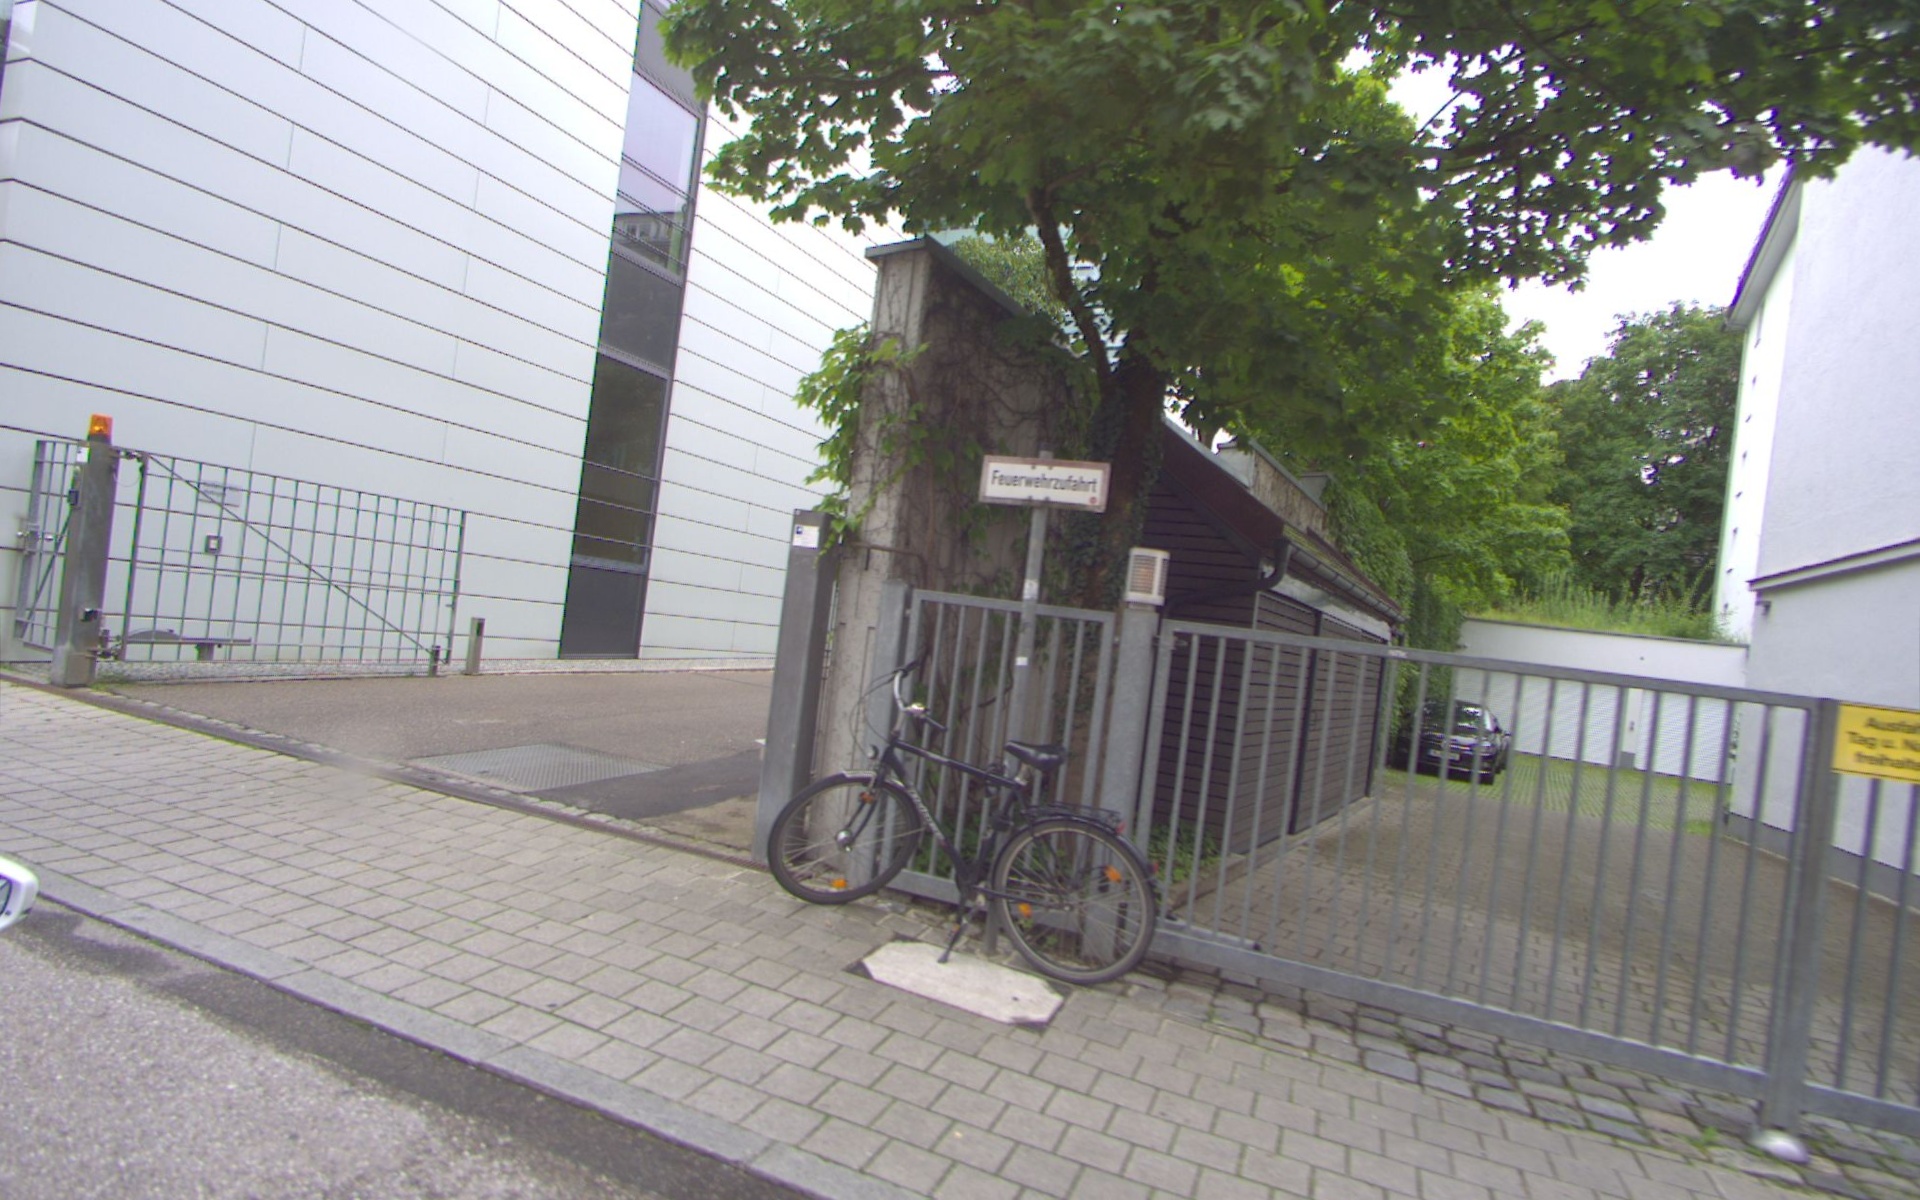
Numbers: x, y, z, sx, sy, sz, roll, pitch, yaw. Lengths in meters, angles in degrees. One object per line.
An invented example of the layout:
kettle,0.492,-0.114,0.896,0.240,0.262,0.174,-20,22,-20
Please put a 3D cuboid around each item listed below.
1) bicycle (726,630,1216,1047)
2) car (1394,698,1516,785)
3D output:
bicycle,0.039,0.897,4.303,1.800,1.213,0.709,10,1,23
car,9.653,2.671,19.458,1.668,1.248,3.995,7,-2,31
